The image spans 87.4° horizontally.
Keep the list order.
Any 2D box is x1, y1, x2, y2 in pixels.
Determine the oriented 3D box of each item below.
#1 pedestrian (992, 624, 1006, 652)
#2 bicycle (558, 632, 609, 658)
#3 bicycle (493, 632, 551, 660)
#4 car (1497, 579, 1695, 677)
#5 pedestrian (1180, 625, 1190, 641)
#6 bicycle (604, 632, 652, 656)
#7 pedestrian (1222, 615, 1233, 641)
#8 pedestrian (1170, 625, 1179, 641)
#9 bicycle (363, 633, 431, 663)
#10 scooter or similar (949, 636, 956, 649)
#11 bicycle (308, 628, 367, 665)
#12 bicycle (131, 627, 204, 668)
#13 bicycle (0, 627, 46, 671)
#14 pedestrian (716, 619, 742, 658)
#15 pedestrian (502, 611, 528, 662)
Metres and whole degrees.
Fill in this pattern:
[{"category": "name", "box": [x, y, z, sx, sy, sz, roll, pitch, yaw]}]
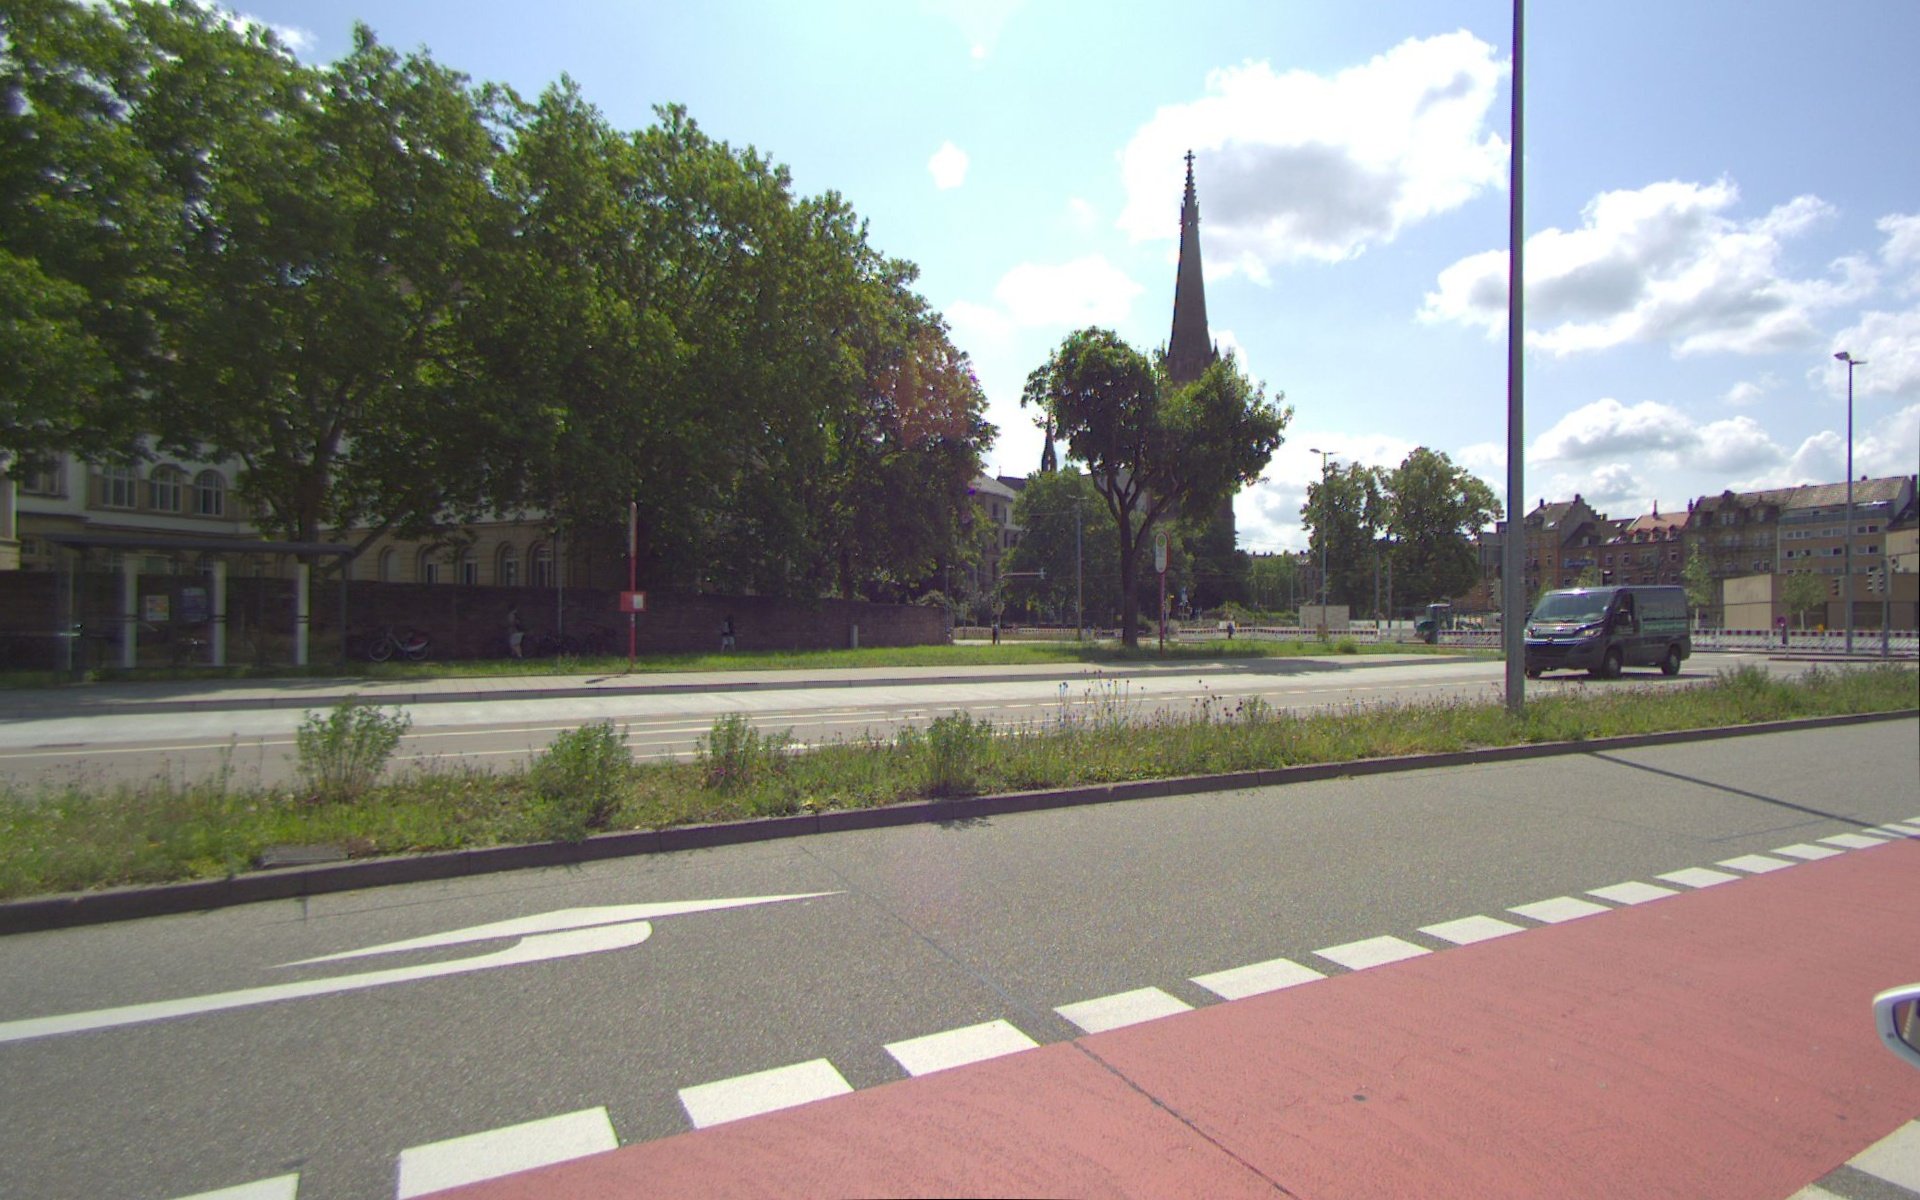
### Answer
[{"category": "pedestrian", "box": [2.891, 2.816, 74.741, 0.713, 2.040, 0.721, 1, -1, -32]}, {"category": "bicycle", "box": [-12.782, 1.514, 34.142, 0.324, 0.828, 1.743, 0, -1, 36]}, {"category": "bicycle", "box": [-14.020, 1.463, 32.190, 0.378, 0.828, 1.743, 0, -1, 36]}, {"category": "car", "box": [15.785, 0.717, 24.891, 4.961, 2.204, 2.137, 1, -3, -31]}, {"category": "pedestrian", "box": [24.193, 3.572, 107.986, 0.842, 1.685, 0.751, 0, -1, 29]}, {"category": "bicycle", "box": [-11.778, 1.543, 35.668, 0.324, 0.828, 1.743, 0, -1, 36]}, {"category": "pedestrian", "box": [20.801, 2.161, 78.114, 0.625, 2.040, 0.643, 1, -1, -32]}, {"category": "pedestrian", "box": [22.945, 3.532, 107.414, 0.842, 1.685, 0.751, 0, -1, 29]}, {"category": "bicycle", "box": [-16.243, 1.380, 29.000, 0.324, 0.828, 1.743, 0, -1, 36]}, {"category": "scooter or similar", "box": [-0.437, 2.477, 58.968, 0.117, 0.721, 1.005, 0, -1, 17]}, {"category": "bicycle", "box": [-17.163, 1.266, 27.703, 0.260, 0.977, 1.391, 0, -1, 36]}, {"category": "bicycle", "box": [-19.421, 1.158, 24.633, 0.260, 0.977, 1.391, 0, -1, 36]}, {"category": "bicycle", "box": [-21.261, 1.091, 22.312, 0.260, 0.977, 1.391, 0, -1, 36]}, {"category": "pedestrian", "box": [-8.658, 1.430, 37.653, 0.720, 1.413, 0.714, 1, -1, -35]}, {"category": "pedestrian", "box": [-13.183, 1.065, 29.756, 0.627, 1.492, 0.506, 1, -1, -32]}]
